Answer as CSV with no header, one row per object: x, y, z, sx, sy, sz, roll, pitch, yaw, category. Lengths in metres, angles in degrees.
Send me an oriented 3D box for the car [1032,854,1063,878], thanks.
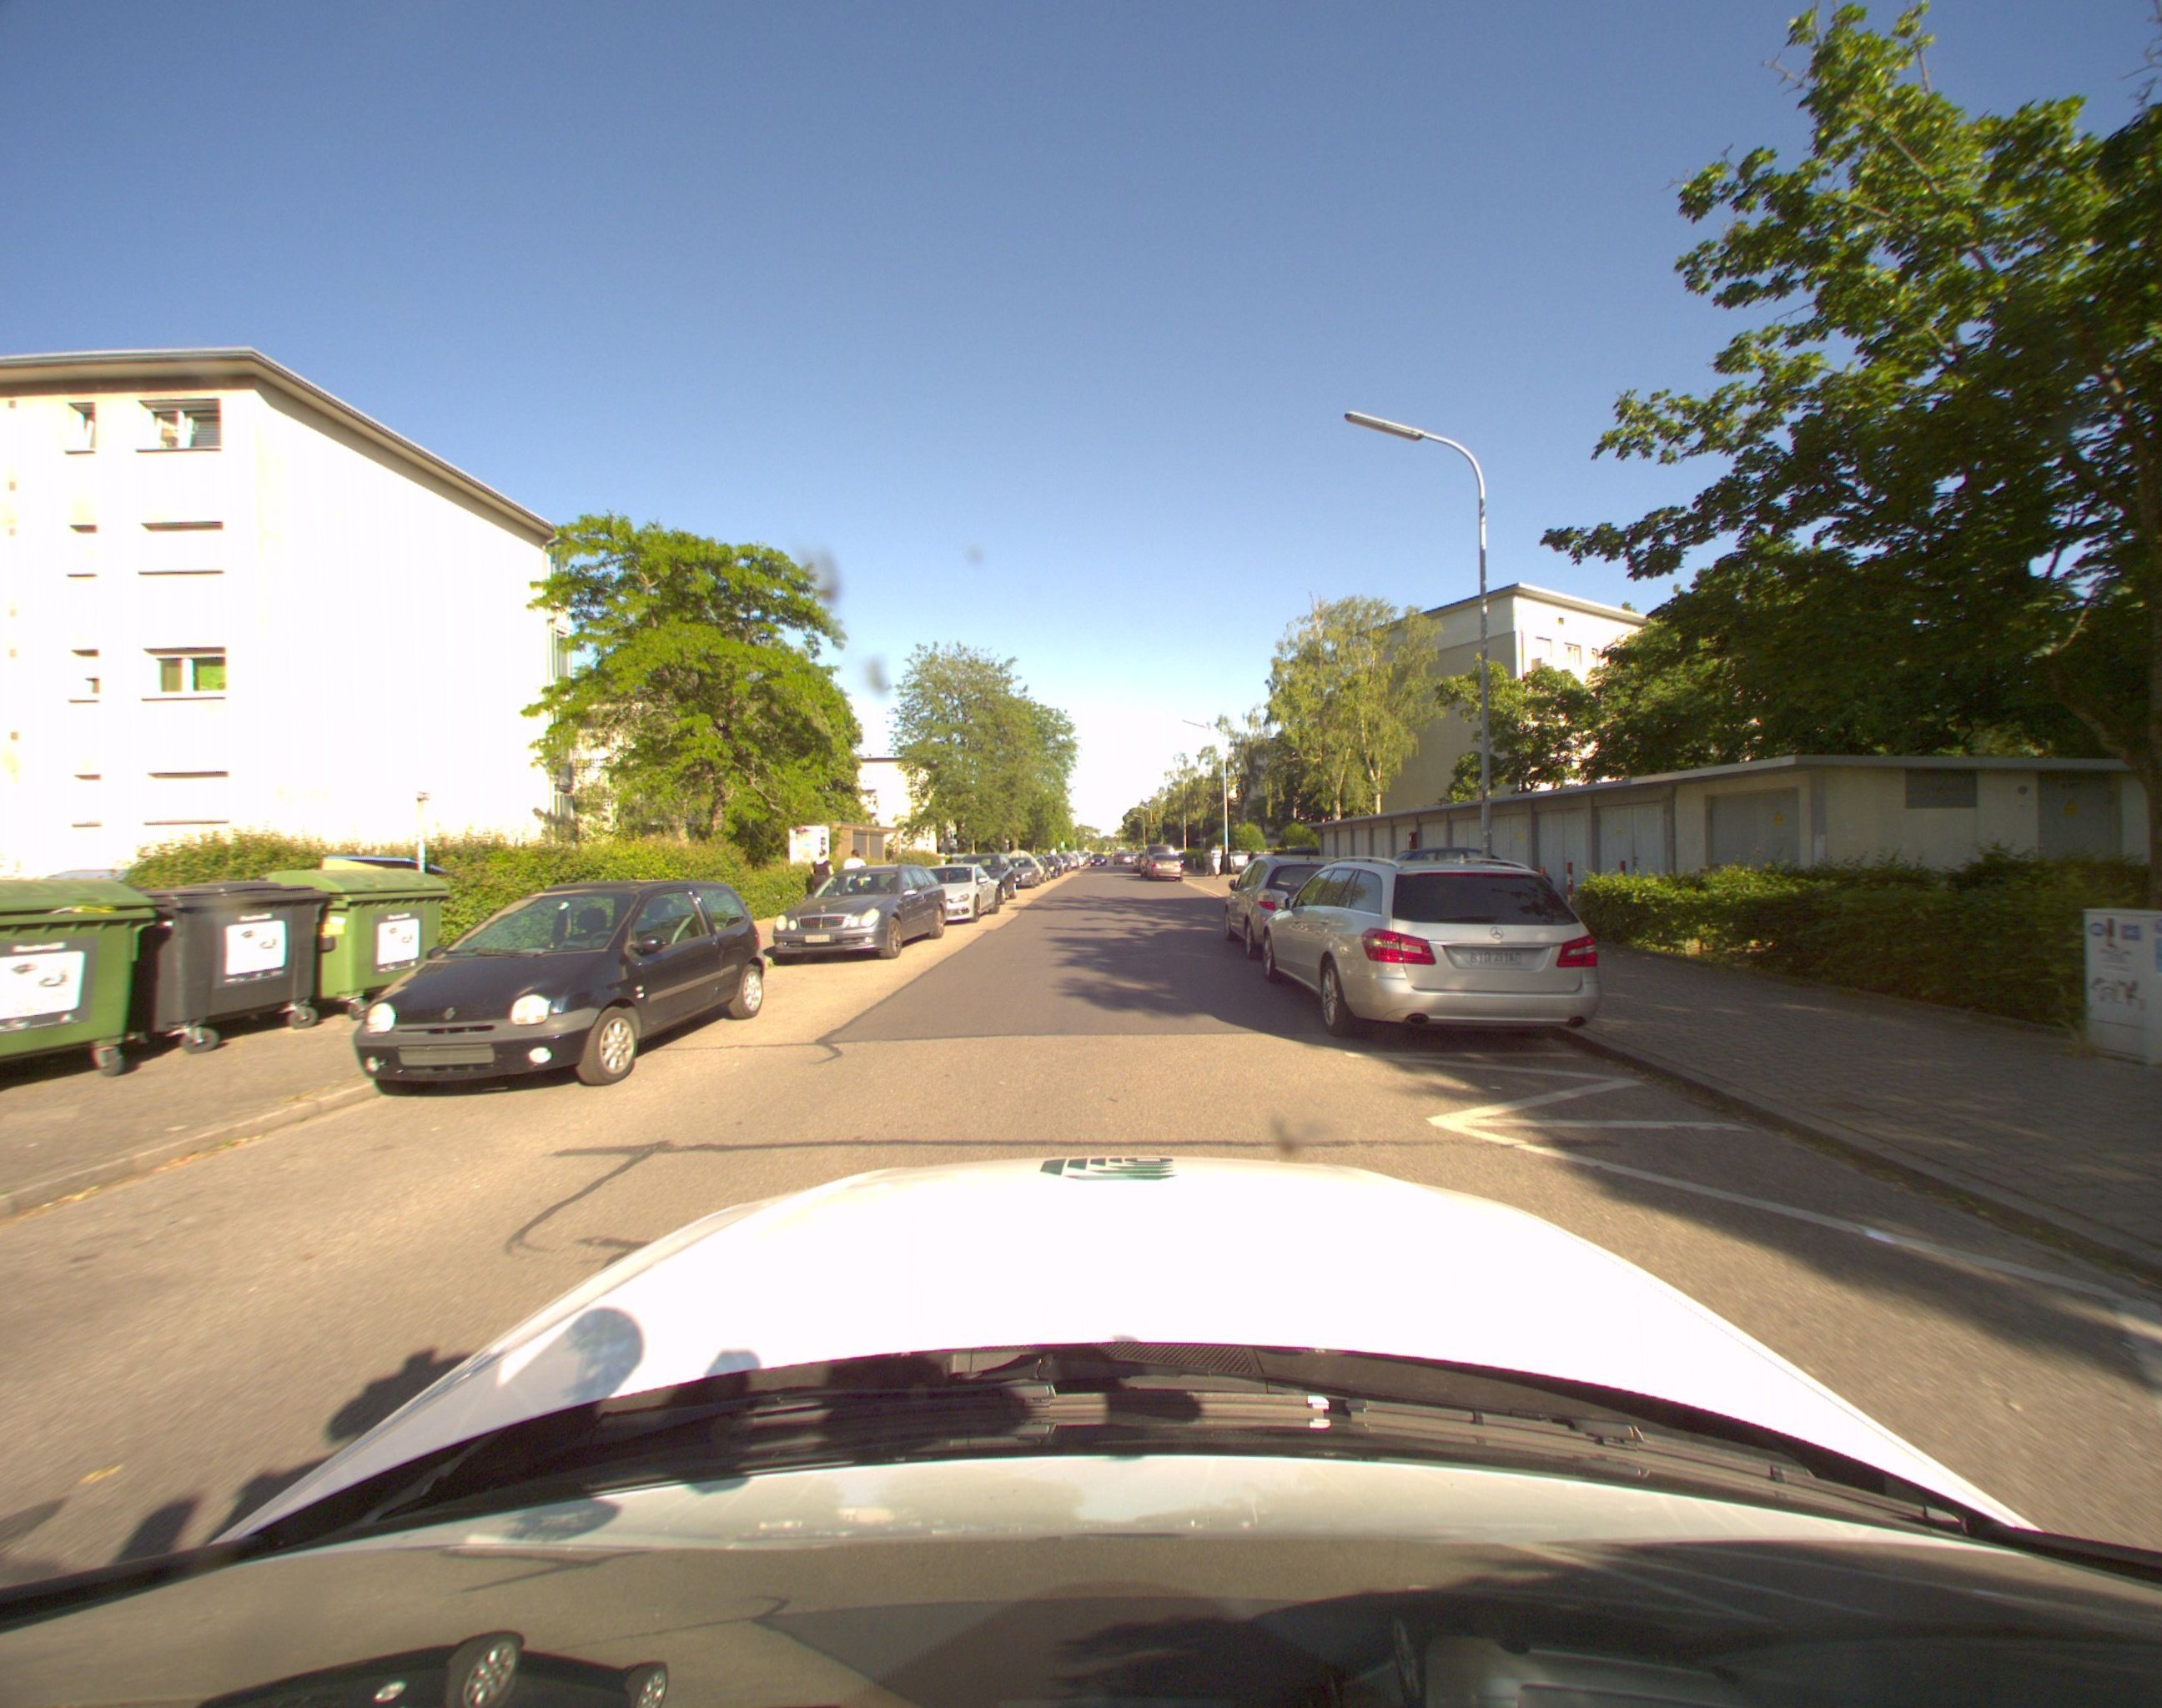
-2.260,0.776,55.909,1.748,1.481,4.538,-3,0,1,car

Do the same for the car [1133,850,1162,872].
5.008,0.510,61.660,1.726,1.490,4.500,-2,0,-1,car

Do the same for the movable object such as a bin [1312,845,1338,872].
13.966,0.251,46.644,1.270,1.465,1.135,-1,3,5,movable object such as a bin

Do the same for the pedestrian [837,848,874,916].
-5.660,0.701,20.488,0.718,1.679,0.616,-1,0,2,pedestrian

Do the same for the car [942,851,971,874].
-9.277,0.633,60.972,1.565,1.641,3.999,0,0,0,car

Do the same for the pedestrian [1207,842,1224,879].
7.018,0.316,42.570,0.700,1.888,0.873,-3,0,3,pedestrian

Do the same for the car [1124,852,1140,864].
6.681,0.478,107.274,1.748,1.513,4.103,1,0,0,car

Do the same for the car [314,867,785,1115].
-4.057,0.907,6.988,1.642,1.464,3.496,-2,0,1,car

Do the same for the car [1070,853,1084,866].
-0.439,0.702,100.682,1.681,1.505,3.817,-2,0,0,car

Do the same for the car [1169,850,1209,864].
12.437,0.339,94.263,4.398,1.513,1.830,-2,0,2,car

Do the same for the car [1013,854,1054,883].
-2.577,0.769,45.324,1.747,1.481,3.963,-3,0,3,car

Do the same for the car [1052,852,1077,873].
-1.358,0.706,67.723,1.747,1.606,3.971,-3,0,3,car

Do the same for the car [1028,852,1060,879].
-2.272,0.686,50.785,1.748,1.574,3.720,-3,0,0,car

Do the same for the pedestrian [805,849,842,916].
-6.571,0.706,20.794,0.718,1.679,0.600,-1,0,2,pedestrian

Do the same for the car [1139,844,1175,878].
4.563,0.392,49.289,1.846,1.934,4.706,0,0,1,car

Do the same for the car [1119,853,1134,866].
5.600,0.684,100.495,1.674,1.513,4.103,1,0,0,car

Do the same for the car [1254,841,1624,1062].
2.993,0.679,8.026,1.823,1.546,4.644,-1,0,3,car

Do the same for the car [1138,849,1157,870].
5.612,0.478,69.076,1.483,1.718,2.584,0,0,1,car

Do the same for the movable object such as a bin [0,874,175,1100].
-7.420,0.873,5.572,0.891,1.415,1.326,2,0,0,movable object such as a bin

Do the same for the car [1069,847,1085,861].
-0.488,-0.009,95.676,1.680,1.535,3.892,-2,0,1,car

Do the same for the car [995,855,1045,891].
-2.725,0.809,37.064,1.747,1.421,4.271,-3,0,2,car

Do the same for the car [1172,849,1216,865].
11.892,0.308,86.063,4.495,1.513,1.830,-2,0,3,car

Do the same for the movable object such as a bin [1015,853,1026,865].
-7.336,0.620,98.336,1.129,1.420,1.362,2,0,3,movable object such as a bin

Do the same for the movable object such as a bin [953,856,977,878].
-6.813,0.760,47.837,1.173,1.288,1.344,0,0,2,movable object such as a bin

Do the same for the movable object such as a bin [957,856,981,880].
-6.770,0.854,49.258,1.173,1.408,1.344,0,0,2,movable object such as a bin

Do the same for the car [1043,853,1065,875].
-2.046,0.749,61.982,1.439,1.574,3.142,-3,0,1,car

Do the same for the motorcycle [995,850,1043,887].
-3.114,0.711,40.888,2.249,1.727,0.932,-3,0,-2,motorcycle

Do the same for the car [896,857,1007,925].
-3.066,0.834,20.168,1.746,1.425,4.214,-3,-1,4,car

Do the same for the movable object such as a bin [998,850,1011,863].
-8.854,0.288,94.539,1.172,1.420,1.464,2,0,4,movable object such as a bin

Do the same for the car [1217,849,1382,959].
3.314,0.677,13.071,1.797,1.494,3.798,-1,0,3,car

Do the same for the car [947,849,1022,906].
-3.100,0.704,27.006,1.747,1.635,4.372,-3,0,2,car

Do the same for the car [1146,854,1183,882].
4.429,0.689,43.618,1.793,1.419,4.640,0,0,3,car

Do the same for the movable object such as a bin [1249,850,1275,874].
10.220,0.447,46.044,1.270,1.365,1.135,-1,0,5,movable object such as a bin

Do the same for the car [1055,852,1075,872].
-1.382,0.698,72.655,1.630,1.606,3.535,-2,0,1,car

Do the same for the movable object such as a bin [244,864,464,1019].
-7.354,0.833,8.343,0.998,1.415,1.326,2,0,0,movable object such as a bin

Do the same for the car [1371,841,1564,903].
9.948,0.437,21.154,4.170,1.494,1.817,-1,0,-2,car

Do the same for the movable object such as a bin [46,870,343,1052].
-7.507,0.854,7.005,1.115,1.366,1.257,2,0,0,movable object such as a bin

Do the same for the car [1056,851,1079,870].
-1.247,0.602,78.359,1.896,1.639,4.351,-2,0,2,car

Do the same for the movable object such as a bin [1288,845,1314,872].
12.611,0.266,46.781,1.270,1.465,1.135,-1,3,5,movable object such as a bin

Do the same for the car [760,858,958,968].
-3.619,0.883,14.317,1.746,1.490,4.905,-4,-1,4,car

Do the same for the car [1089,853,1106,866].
2.009,0.622,96.467,1.903,1.476,4.572,-2,0,2,car

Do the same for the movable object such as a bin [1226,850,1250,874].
8.949,0.449,46.466,1.218,1.365,1.135,-1,0,5,movable object such as a bin

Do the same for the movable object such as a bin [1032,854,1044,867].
-4.597,0.685,86.798,1.131,1.382,1.443,2,0,3,movable object such as a bin

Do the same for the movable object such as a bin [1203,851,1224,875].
7.741,0.526,47.467,1.019,1.310,1.391,-4,0,12,movable object such as a bin
